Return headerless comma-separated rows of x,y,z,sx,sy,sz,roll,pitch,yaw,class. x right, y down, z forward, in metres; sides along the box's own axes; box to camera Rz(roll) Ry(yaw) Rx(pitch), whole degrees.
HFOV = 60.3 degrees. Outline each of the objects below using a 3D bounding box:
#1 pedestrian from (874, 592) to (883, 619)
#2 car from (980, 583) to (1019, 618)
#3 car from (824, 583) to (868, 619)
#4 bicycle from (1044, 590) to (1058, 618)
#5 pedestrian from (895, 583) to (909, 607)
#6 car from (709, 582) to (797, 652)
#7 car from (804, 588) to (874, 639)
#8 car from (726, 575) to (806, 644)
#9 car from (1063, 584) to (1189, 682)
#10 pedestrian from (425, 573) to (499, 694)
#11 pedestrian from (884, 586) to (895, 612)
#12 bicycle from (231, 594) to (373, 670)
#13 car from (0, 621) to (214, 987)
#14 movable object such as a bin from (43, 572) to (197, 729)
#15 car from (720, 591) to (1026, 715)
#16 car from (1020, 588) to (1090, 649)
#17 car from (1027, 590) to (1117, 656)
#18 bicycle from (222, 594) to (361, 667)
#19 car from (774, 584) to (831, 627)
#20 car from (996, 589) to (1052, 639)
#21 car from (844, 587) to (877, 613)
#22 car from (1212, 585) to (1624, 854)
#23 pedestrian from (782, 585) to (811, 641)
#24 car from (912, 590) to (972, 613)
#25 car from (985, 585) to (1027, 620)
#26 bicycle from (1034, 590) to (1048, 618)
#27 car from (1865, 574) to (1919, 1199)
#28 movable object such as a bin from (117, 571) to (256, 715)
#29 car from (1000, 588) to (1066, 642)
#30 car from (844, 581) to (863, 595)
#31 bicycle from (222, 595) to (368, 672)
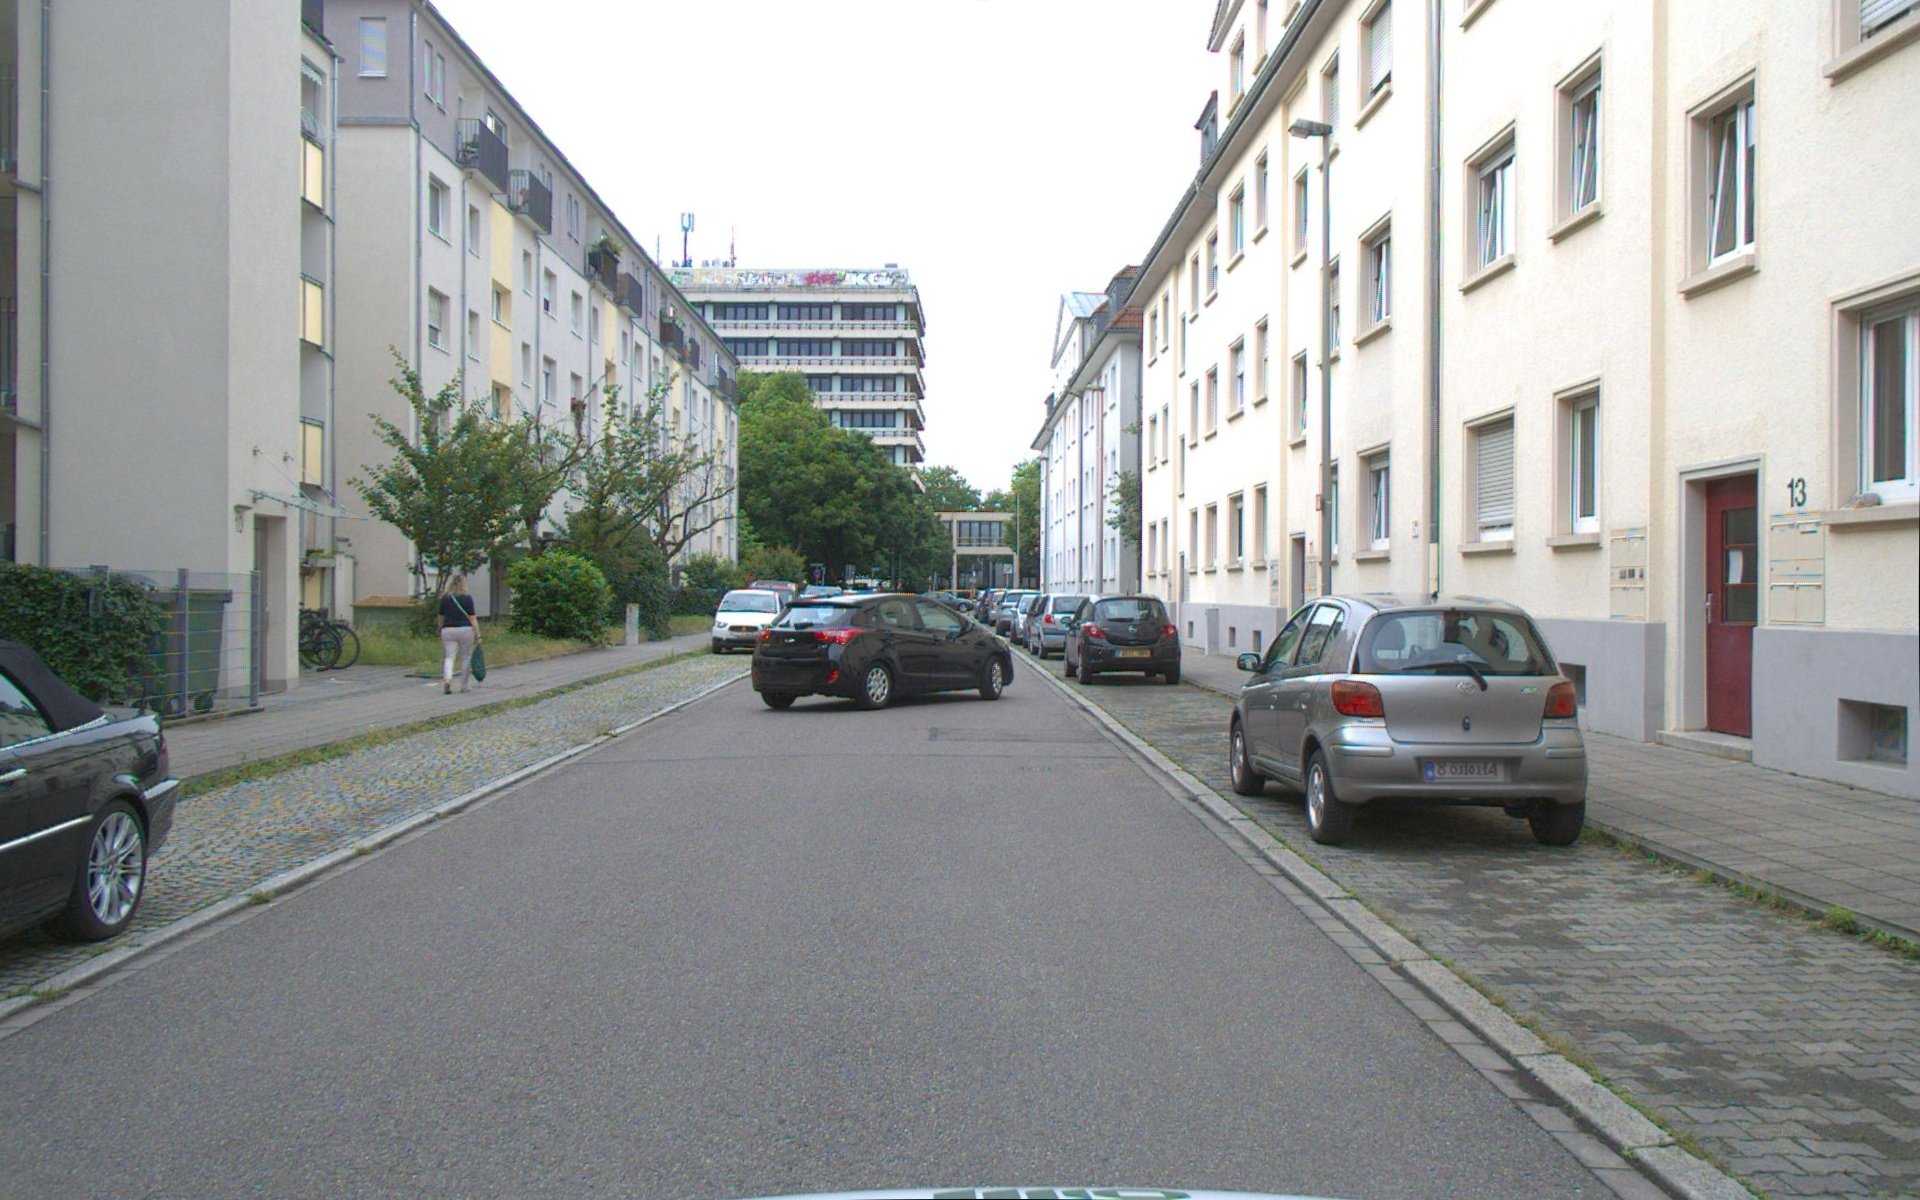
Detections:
-5.826,0.379,118.096,0.592,1.863,0.675,0,1,1,pedestrian
1.873,0.007,78.961,1.783,1.631,4.091,0,0,0,car
-5.578,0.045,81.444,1.856,1.626,4.520,3,0,-1,car
3.994,0.167,72.503,0.564,1.196,2.038,-1,0,5,bicycle
-4.162,-0.387,118.241,0.952,1.683,0.980,-1,0,0,pedestrian
-5.050,0.387,40.713,1.685,1.597,3.870,2,0,-1,car
-3.759,0.391,51.881,1.807,1.476,4.501,1,0,0,car
-5.406,0.235,46.601,1.917,1.801,4.359,1,0,-3,car
2.772,0.515,28.417,1.690,1.544,4.060,0,0,-1,car
-6.867,0.455,22.858,0.784,1.638,0.946,1,0,-5,pedestrian
-5.047,-0.089,118.506,0.699,1.863,0.797,0,1,1,pedestrian
-10.353,0.497,26.094,1.986,1.161,0.621,0,0,-11,bicycle
-4.590,0.798,6.060,1.832,1.346,4.360,2,0,-2,car
-8.155,0.465,16.117,0.787,1.454,1.288,1,0,2,movable object such as a bin
-1.043,0.616,21.884,1.871,1.458,4.218,0,0,35,car
2.469,0.462,43.866,1.570,1.502,3.868,1,0,-1,car
2.564,0.503,38.733,1.811,1.475,3.832,0,0,-1,car
-10.881,0.490,26.957,1.983,1.161,0.623,0,0,-4,bicycle
-5.516,0.169,58.258,1.709,1.490,3.785,0,0,-1,car
2.209,0.451,57.959,1.783,1.671,4.091,1,0,0,car
-6.142,-0.026,102.063,1.954,1.568,3.998,1,0,-3,car
2.954,0.670,11.557,1.690,1.544,4.060,0,0,-1,car
-5.124,0.387,51.759,0.729,1.731,0.792,-1,0,-18,pedestrian
-1.274,0.112,113.230,4.060,1.524,1.809,0,0,-3,car
2.032,0.098,74.228,1.783,1.529,4.091,0,0,0,car
3.568,0.160,72.532,0.519,1.196,2.038,-1,0,5,bicycle
2.900,0.722,1.676,1.690,1.518,4.060,0,0,-1,car
-8.131,0.431,17.439,0.787,1.454,1.288,1,0,3,movable object such as a bin
2.121,0.411,49.001,1.690,1.502,4.504,1,0,-1,car
-10.327,-1.183,160.210,1.632,1.356,3.395,0,1,-1,car
-10.223,0.513,25.473,1.986,1.161,0.621,0,0,-11,bicycle
